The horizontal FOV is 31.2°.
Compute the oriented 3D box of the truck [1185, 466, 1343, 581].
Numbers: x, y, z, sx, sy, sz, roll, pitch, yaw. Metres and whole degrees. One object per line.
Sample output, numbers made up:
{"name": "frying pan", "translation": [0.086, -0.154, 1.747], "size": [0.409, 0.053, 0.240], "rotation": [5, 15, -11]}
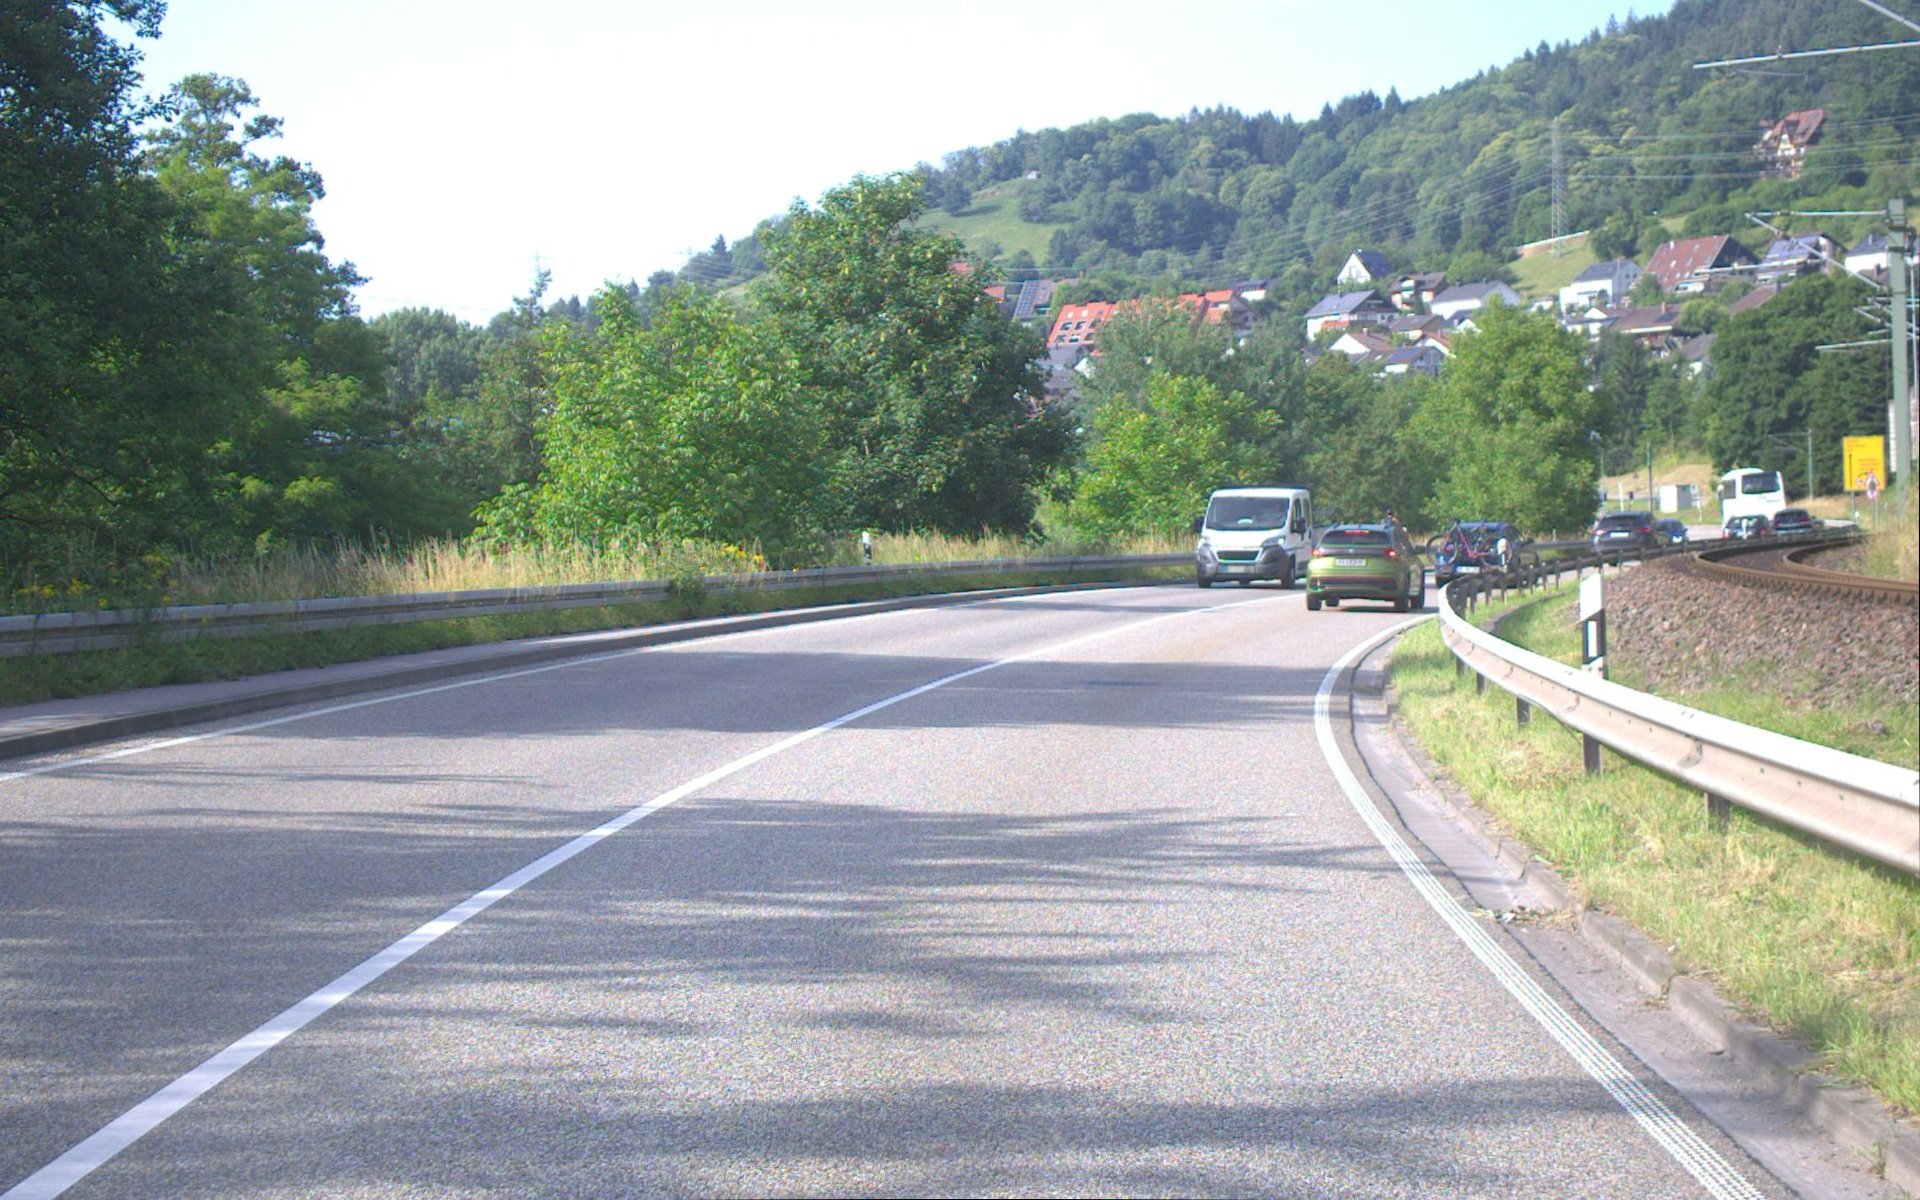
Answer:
{"name": "truck", "translation": [6.774, -1.670, 75.918], "size": [2.158, 2.357, 6.741], "rotation": [2, 1, 16]}

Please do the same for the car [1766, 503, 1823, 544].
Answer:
{"name": "car", "translation": [37.298, -3.425, 153.652], "size": [2.065, 1.805, 3.996], "rotation": [0, 1, 20]}

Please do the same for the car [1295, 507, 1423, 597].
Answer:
{"name": "car", "translation": [6.982, -0.854, 59.895], "size": [1.716, 1.450, 3.998], "rotation": [2, 2, 13]}

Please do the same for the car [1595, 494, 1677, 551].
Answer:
{"name": "car", "translation": [20.193, -2.318, 102.641], "size": [1.882, 1.681, 3.996], "rotation": [0, 2, 19]}

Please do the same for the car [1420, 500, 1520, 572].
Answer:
{"name": "car", "translation": [11.327, -1.434, 76.175], "size": [1.668, 1.554, 3.997], "rotation": [0, 2, 16]}

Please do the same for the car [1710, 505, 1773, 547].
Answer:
{"name": "car", "translation": [28.736, -2.729, 126.292], "size": [1.851, 1.521, 3.659], "rotation": [1, 2, 19]}

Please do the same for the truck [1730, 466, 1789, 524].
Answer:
{"name": "truck", "translation": [43.395, -5.680, 186.606], "size": [2.713, 3.073, 6.106], "rotation": [1, 2, 10]}
